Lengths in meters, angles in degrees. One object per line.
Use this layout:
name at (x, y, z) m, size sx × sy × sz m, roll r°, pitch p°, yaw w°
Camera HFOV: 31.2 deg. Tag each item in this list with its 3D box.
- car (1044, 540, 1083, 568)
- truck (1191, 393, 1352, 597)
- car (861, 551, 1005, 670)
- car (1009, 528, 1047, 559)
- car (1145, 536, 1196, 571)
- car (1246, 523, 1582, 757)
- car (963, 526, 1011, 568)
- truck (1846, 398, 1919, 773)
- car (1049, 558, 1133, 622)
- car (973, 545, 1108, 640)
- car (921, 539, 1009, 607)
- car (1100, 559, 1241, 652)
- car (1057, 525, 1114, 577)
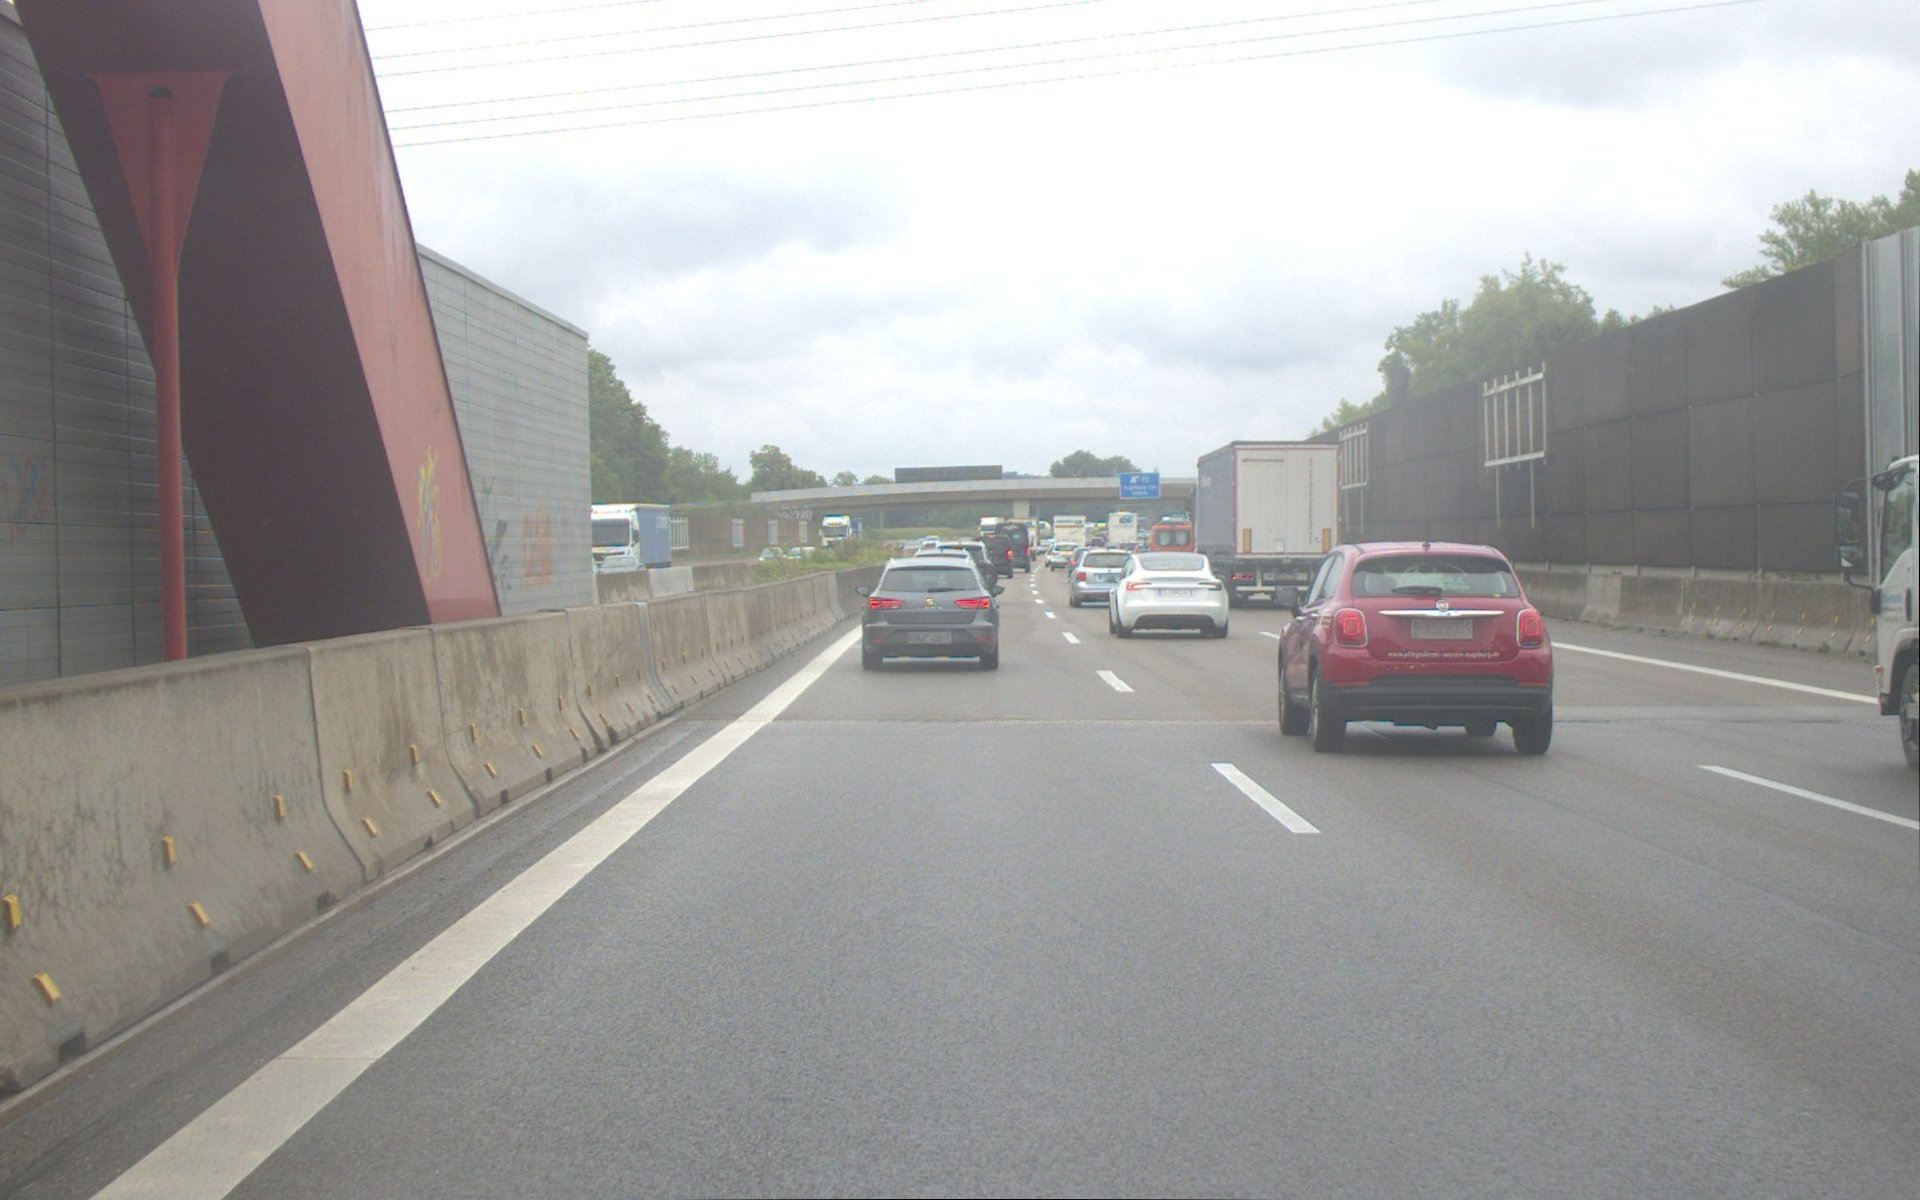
car at (5.752, -2.575, 191.426) m, size 1.993 × 1.514 × 4.000 m, roll 0°, pitch 1°, yaw 0°
truck at (7.556, -2.523, 84.390) m, size 3.044 × 4.718 × 7.680 m, roll 1°, pitch 1°, yaw -1°
car at (-0.371, 0.100, 44.381) m, size 1.763 × 1.448 × 4.000 m, roll 0°, pitch 1°, yaw -1°
car at (3.540, -2.951, 179.289) m, size 1.993 × 1.618 × 4.000 m, roll 0°, pitch 1°, yaw 1°
car at (9.311, -2.055, 152.409) m, size 1.993 × 1.514 × 4.000 m, roll 0°, pitch 1°, yaw 0°
car at (3.461, 0.249, 26.963) m, size 1.957 × 1.641 × 4.001 m, roll 0°, pitch 2°, yaw -2°
car at (1.161, -2.331, 150.531) m, size 1.993 × 1.809 × 4.000 m, roll 0°, pitch 1°, yaw -1°
truck at (7.547, -0.082, 22.328) m, size 2.361 × 2.498 × 6.143 m, roll 0°, pitch 1°, yaw 4°
car at (3.245, -0.263, 85.501) m, size 1.702 × 1.538 × 3.839 m, roll 0°, pitch 1°, yaw -4°
car at (1.319, -0.155, 57.920) m, size 1.993 × 1.514 × 4.001 m, roll 0°, pitch 1°, yaw -2°
car at (0.084, -0.599, 74.171) m, size 1.781 × 1.401 × 3.626 m, roll 0°, pitch 1°, yaw -2°
car at (3.510, 0.074, 57.956) m, size 1.993 × 1.481 × 4.001 m, roll 0°, pitch 1°, yaw -2°
car at (4.960, -1.947, 136.128) m, size 1.993 × 2.007 × 4.000 m, roll 1°, pitch 1°, yaw -1°
